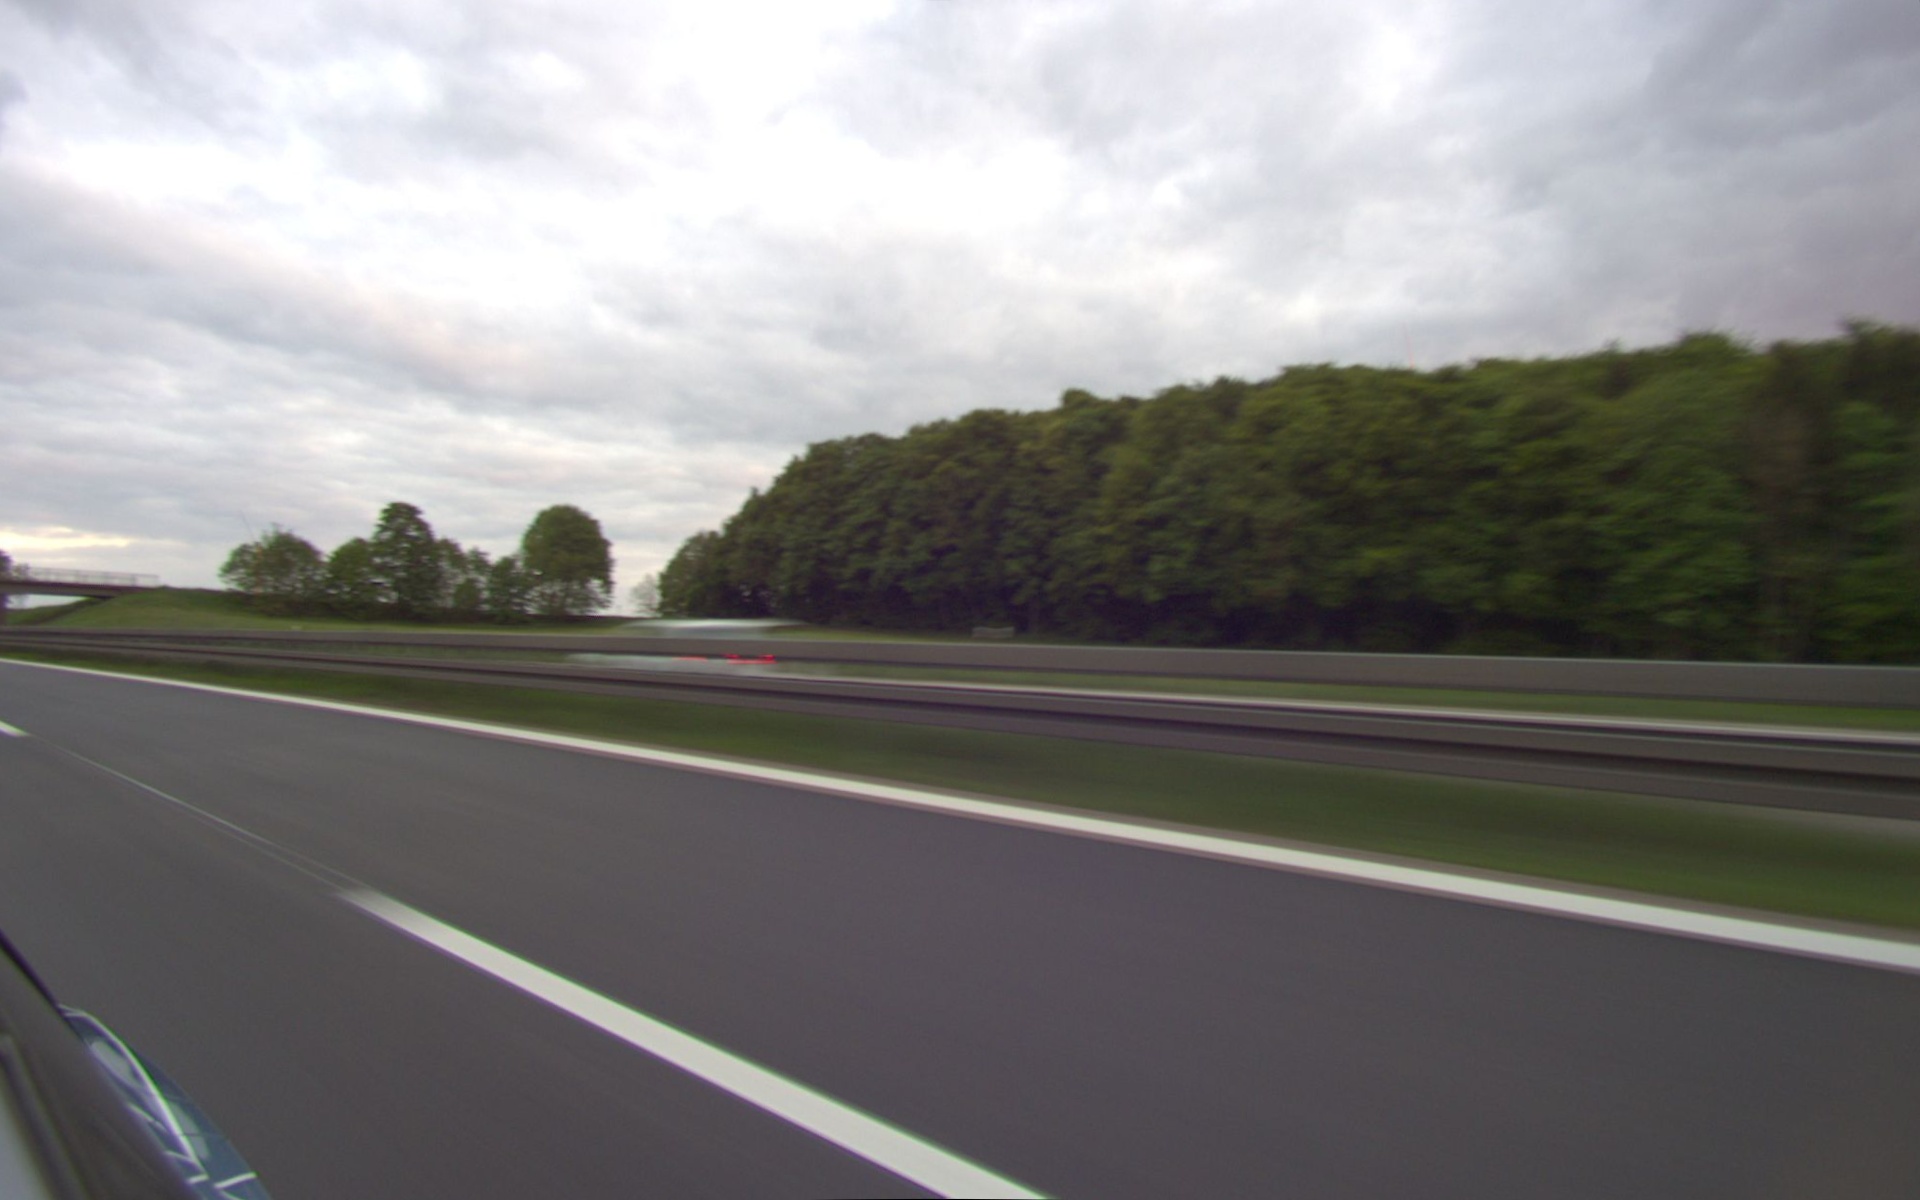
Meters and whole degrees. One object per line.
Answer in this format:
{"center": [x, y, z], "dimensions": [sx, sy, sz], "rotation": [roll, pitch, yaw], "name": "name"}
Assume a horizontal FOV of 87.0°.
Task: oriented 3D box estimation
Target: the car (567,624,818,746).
{"center": [-5.235, 1.505, 19.450], "dimensions": [5.163, 2.029, 1.974], "rotation": [-1, -3, 39], "name": "car"}
